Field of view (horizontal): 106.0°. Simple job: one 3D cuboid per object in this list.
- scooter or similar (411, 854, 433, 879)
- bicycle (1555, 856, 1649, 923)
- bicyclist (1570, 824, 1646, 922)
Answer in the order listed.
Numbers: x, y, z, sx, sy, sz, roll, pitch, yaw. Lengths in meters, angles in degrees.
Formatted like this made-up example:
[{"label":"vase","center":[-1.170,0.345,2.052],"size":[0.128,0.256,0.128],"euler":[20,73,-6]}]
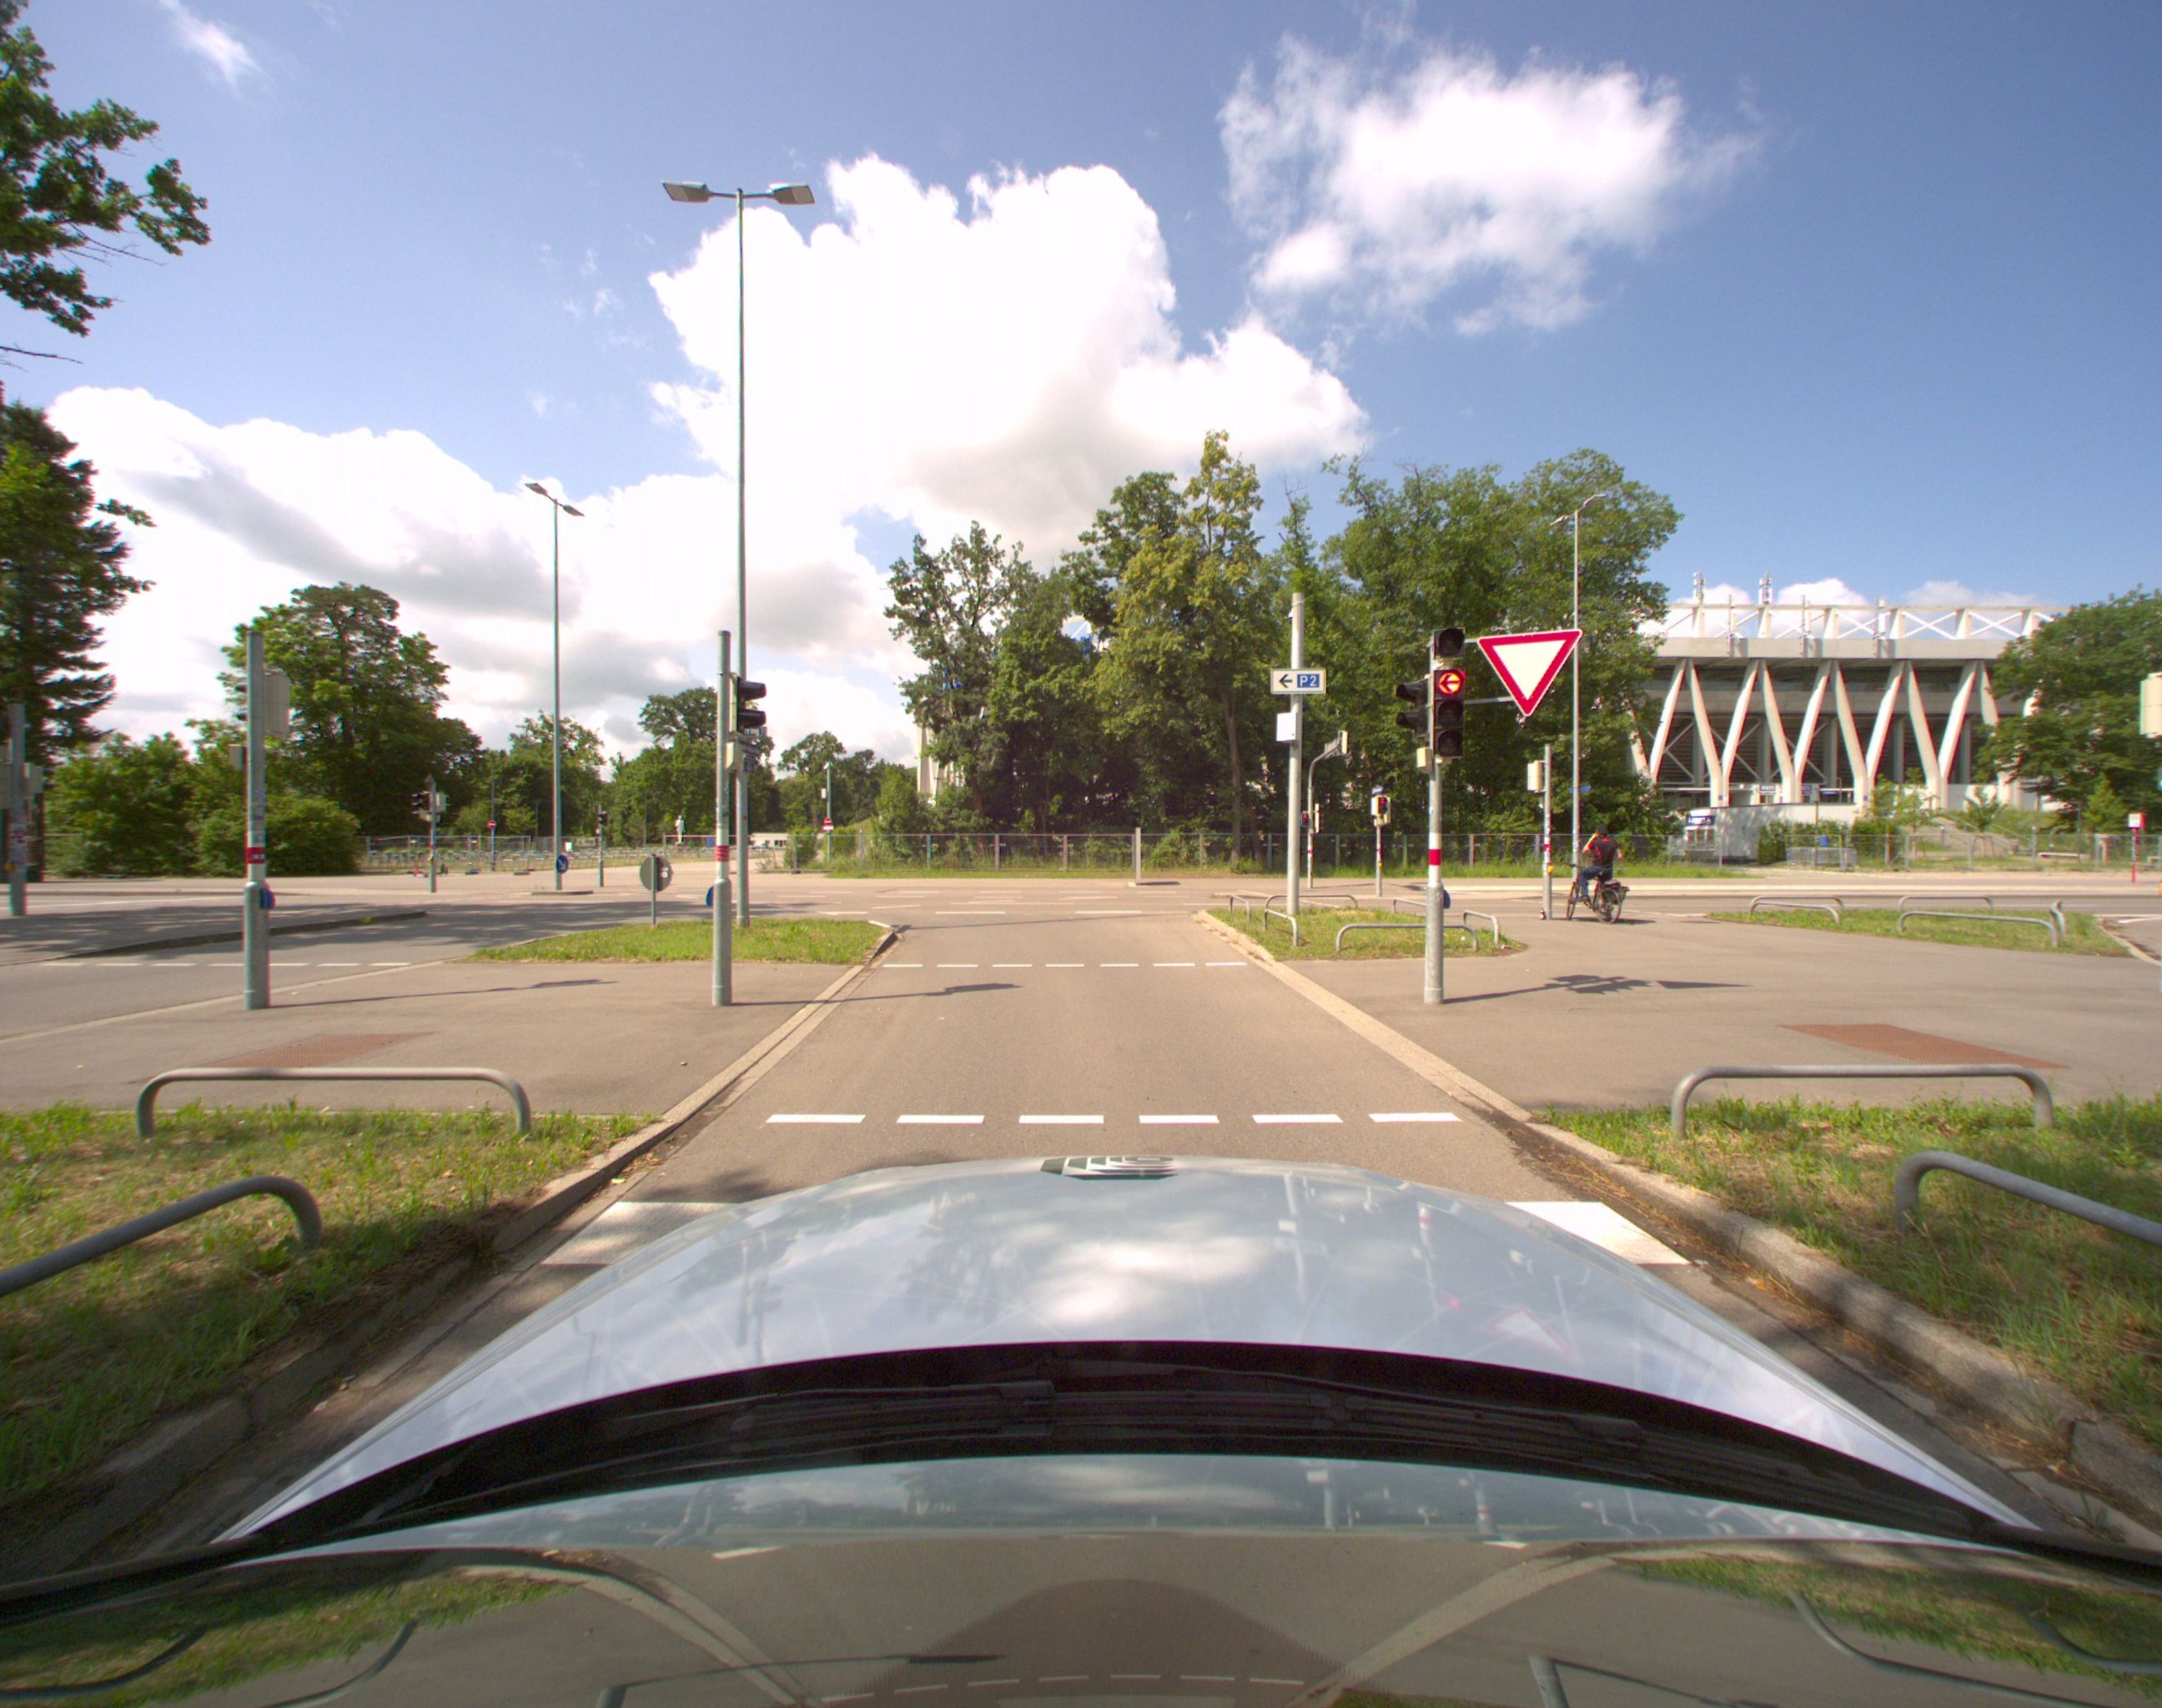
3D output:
[{"label":"scooter or similar","center":[-32.169,0.606,39.757],"size":[1.295,1.200,0.410],"euler":[0,1,31]},{"label":"bicycle","center":[9.961,0.641,15.666],"size":[0.875,1.206,1.903],"euler":[-1,-1,11]},{"label":"bicyclist","center":[9.937,0.353,15.390],"size":[0.879,1.798,0.981],"euler":[-1,-1,10]}]
